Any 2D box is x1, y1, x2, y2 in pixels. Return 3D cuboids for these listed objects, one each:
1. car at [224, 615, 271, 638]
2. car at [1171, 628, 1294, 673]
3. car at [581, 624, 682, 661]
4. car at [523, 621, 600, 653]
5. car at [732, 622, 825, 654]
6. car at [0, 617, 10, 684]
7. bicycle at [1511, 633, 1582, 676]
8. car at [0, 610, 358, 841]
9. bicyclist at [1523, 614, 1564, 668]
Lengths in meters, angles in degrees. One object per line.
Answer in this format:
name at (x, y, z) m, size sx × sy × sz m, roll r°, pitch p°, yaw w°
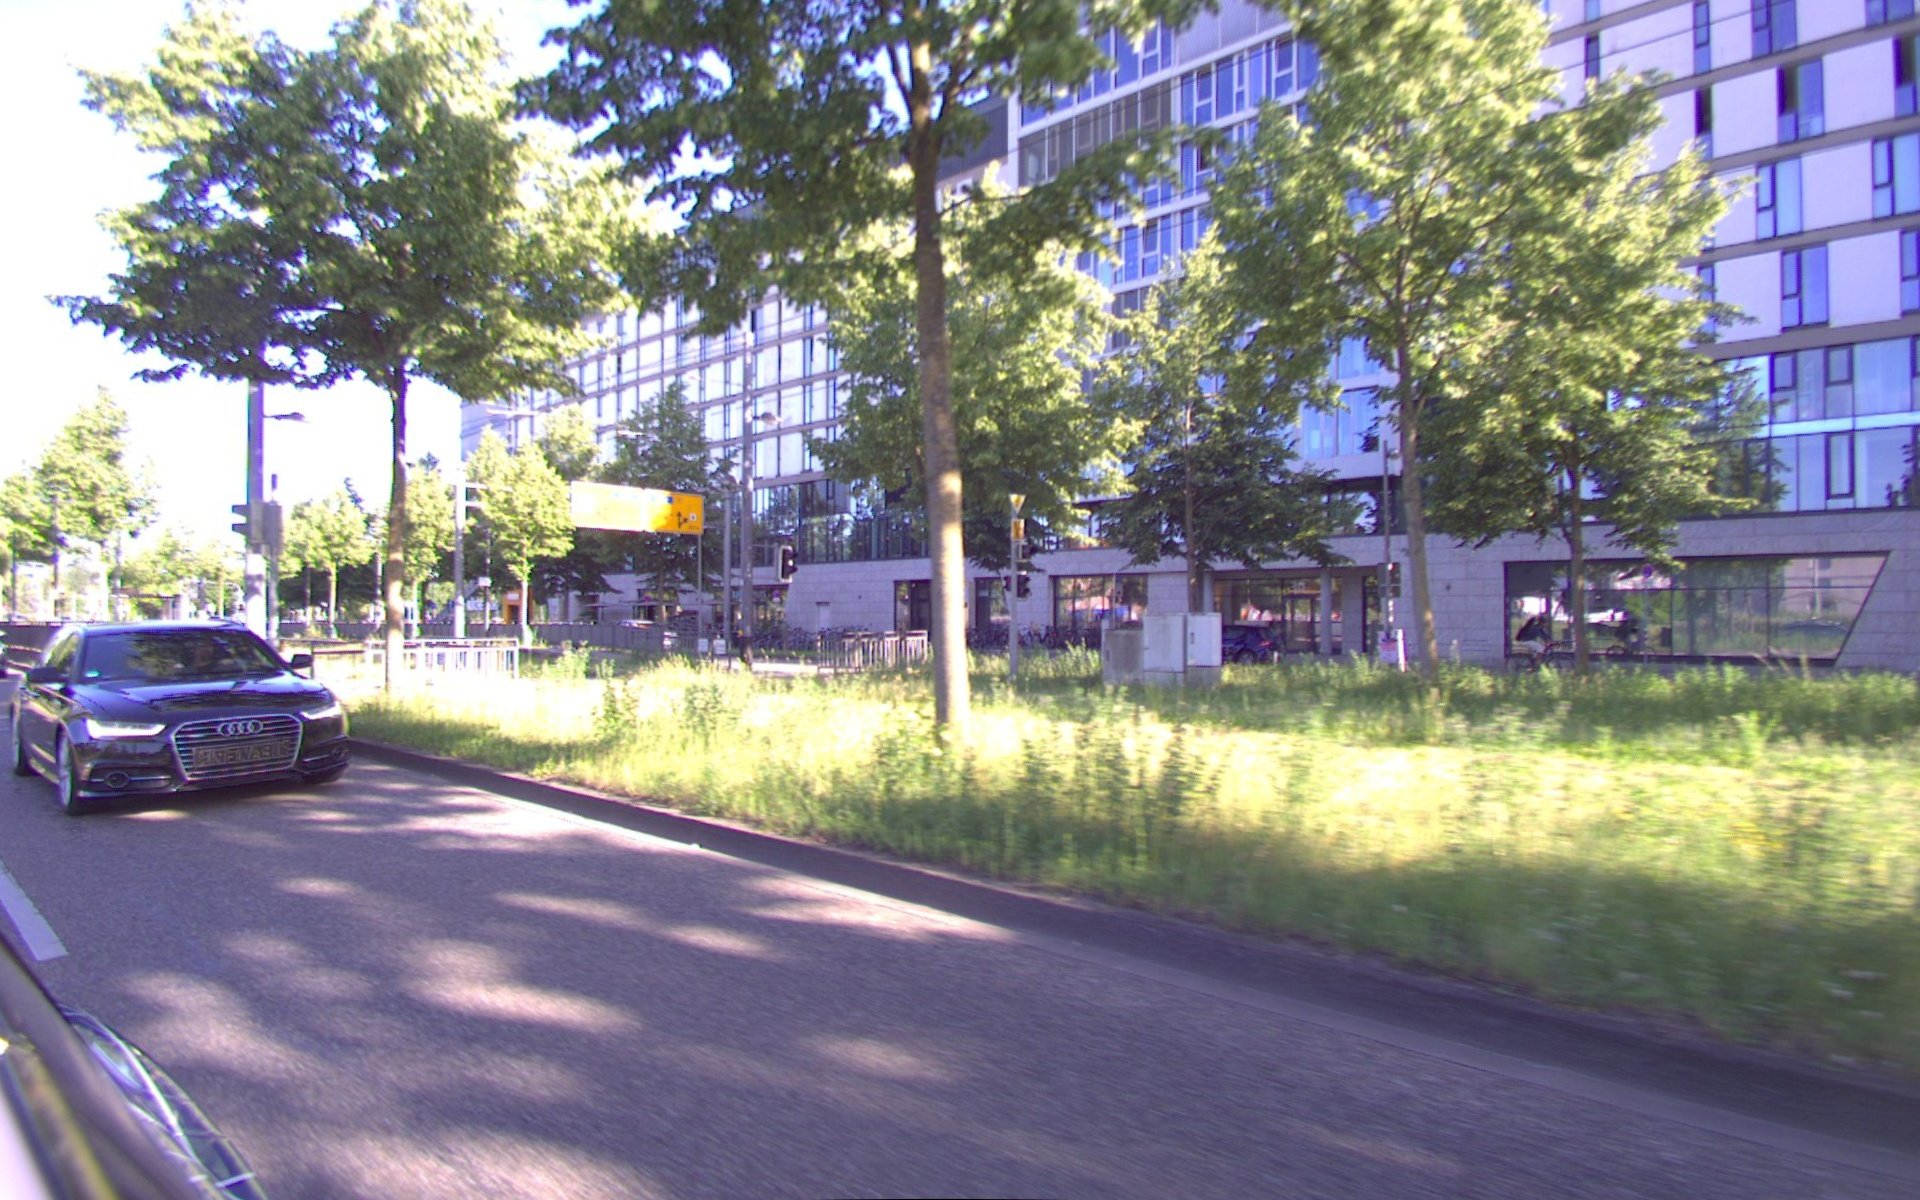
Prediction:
car at (-54.804, 2.036, 77.812) m, size 4.226 × 1.763 × 1.972 m, roll -1°, pitch -2°, yaw 41°
car at (8.723, 1.593, 32.478) m, size 3.464 × 1.244 × 1.633 m, roll 1°, pitch 0°, yaw 41°
car at (-13.192, 1.663, 40.521) m, size 4.507 × 1.414 × 1.799 m, roll -1°, pitch -2°, yaw 41°
car at (-19.685, 1.782, 49.943) m, size 4.332 × 1.414 × 1.742 m, roll 1°, pitch 0°, yaw 41°
car at (-8.633, 1.774, 47.911) m, size 4.543 × 1.431 × 1.937 m, roll -1°, pitch -2°, yaw 42°
car at (-24.887, 1.208, 24.854) m, size 4.526 × 1.581 × 1.825 m, roll -1°, pitch -2°, yaw 41°
bicycle at (16.383, 1.507, 28.285) m, size 1.571 × 1.128 × 0.724 m, roll -2°, pitch -2°, yaw 44°
car at (-7.177, 0.891, 9.041) m, size 4.599 × 1.538 × 1.765 m, roll -1°, pitch -1°, yaw 41°
bicyclist at (16.344, 1.138, 28.332) m, size 0.832 × 1.475 × 0.712 m, roll -2°, pitch -2°, yaw 43°
